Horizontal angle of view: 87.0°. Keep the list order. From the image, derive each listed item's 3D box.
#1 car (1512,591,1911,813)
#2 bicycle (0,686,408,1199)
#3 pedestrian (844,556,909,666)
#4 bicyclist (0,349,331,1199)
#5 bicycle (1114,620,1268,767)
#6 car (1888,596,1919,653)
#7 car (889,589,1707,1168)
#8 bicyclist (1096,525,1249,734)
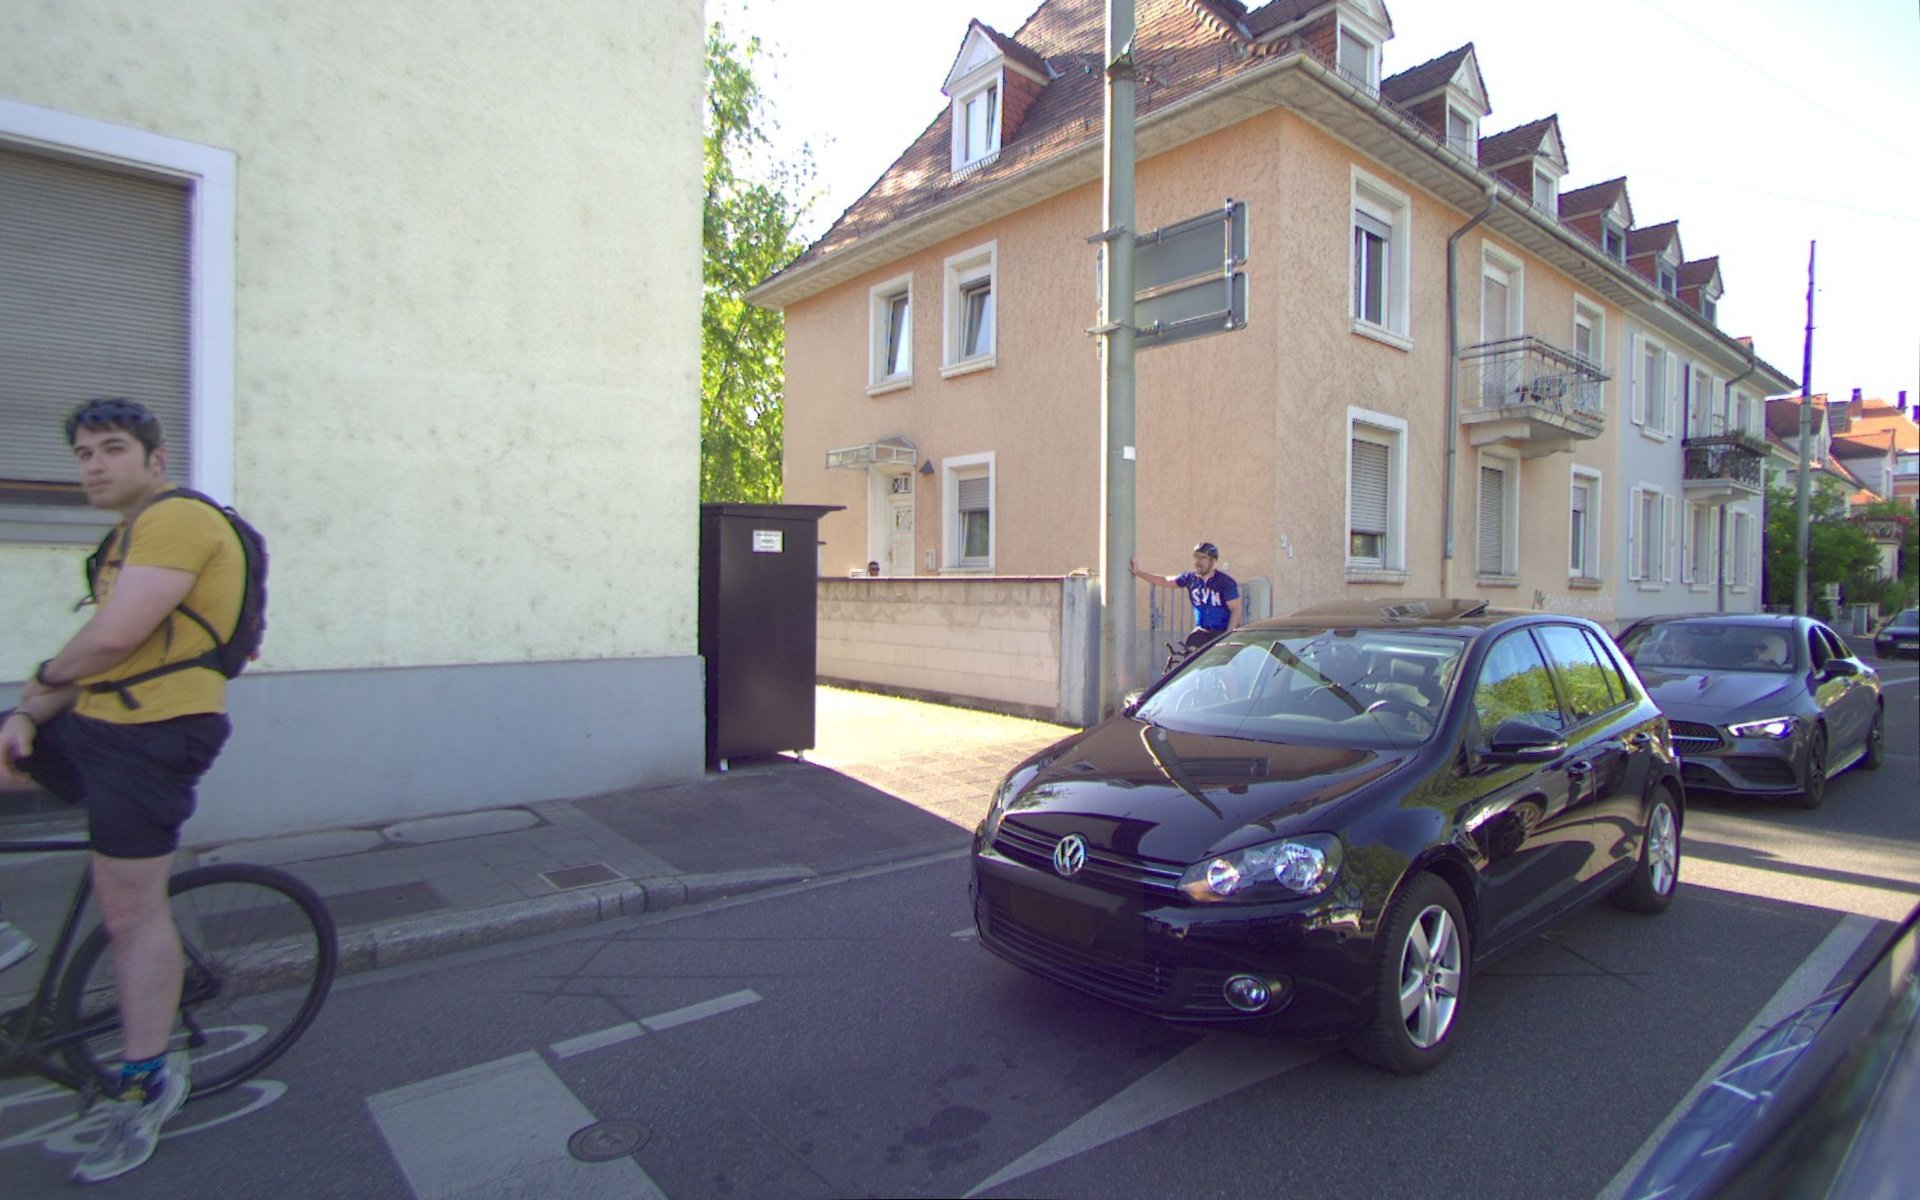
[{"bbox_3d":[6.650,0.690,8.761,4.410,1.449,1.824,1,0,-40],"label":"car"},{"bbox_3d":[-2.481,0.864,2.588,0.777,1.120,1.720,0,0,36],"label":"bicycle"},{"bbox_3d":[-1.323,0.161,15.955,0.600,1.624,0.760,0,6,-43],"label":"pedestrian"},{"bbox_3d":[-2.305,0.426,2.751,0.777,1.991,0.768,0,0,36],"label":"bicyclist"},{"bbox_3d":[2.061,0.766,8.888,0.554,1.088,1.601,6,4,42],"label":"bicycle"},{"bbox_3d":[26.754,0.630,27.439,4.258,1.448,1.824,-1,0,-40],"label":"car"},{"bbox_3d":[1.762,0.687,4.510,3.921,1.456,1.716,-1,0,-41],"label":"car"},{"bbox_3d":[1.889,0.220,9.043,1.018,1.714,0.718,6,4,42],"label":"bicyclist"}]
